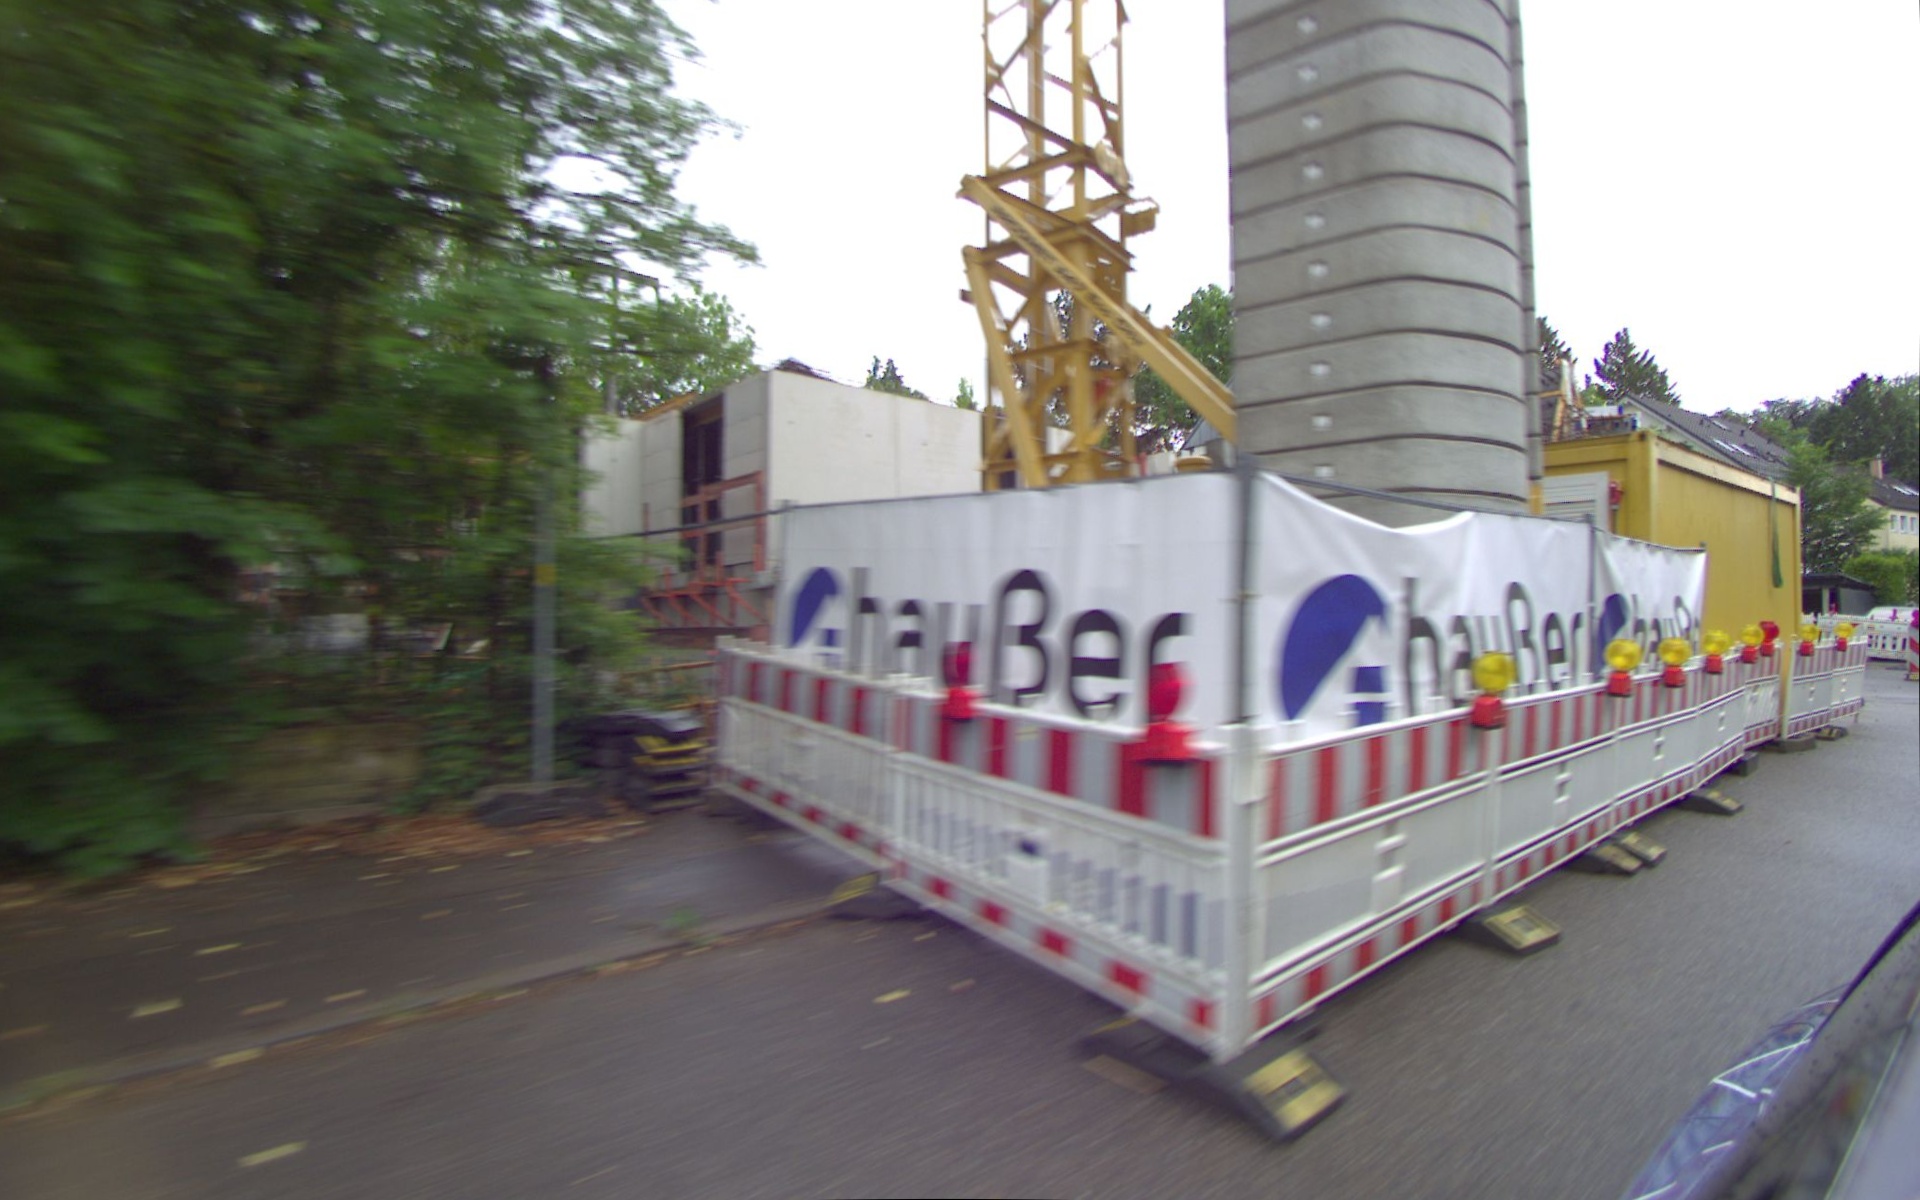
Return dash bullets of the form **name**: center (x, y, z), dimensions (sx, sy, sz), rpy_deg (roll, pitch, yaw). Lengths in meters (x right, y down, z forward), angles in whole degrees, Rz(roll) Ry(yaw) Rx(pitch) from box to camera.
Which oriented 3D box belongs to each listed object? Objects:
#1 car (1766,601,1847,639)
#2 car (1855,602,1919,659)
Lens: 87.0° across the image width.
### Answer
- **car**: center (34.228, 0.796, 40.893), dimensions (3.928, 1.415, 1.738), rpy_deg (0, -3, -39)
- **car**: center (25.870, 0.781, 27.376), dimensions (4.753, 1.440, 1.935), rpy_deg (0, 0, -41)
